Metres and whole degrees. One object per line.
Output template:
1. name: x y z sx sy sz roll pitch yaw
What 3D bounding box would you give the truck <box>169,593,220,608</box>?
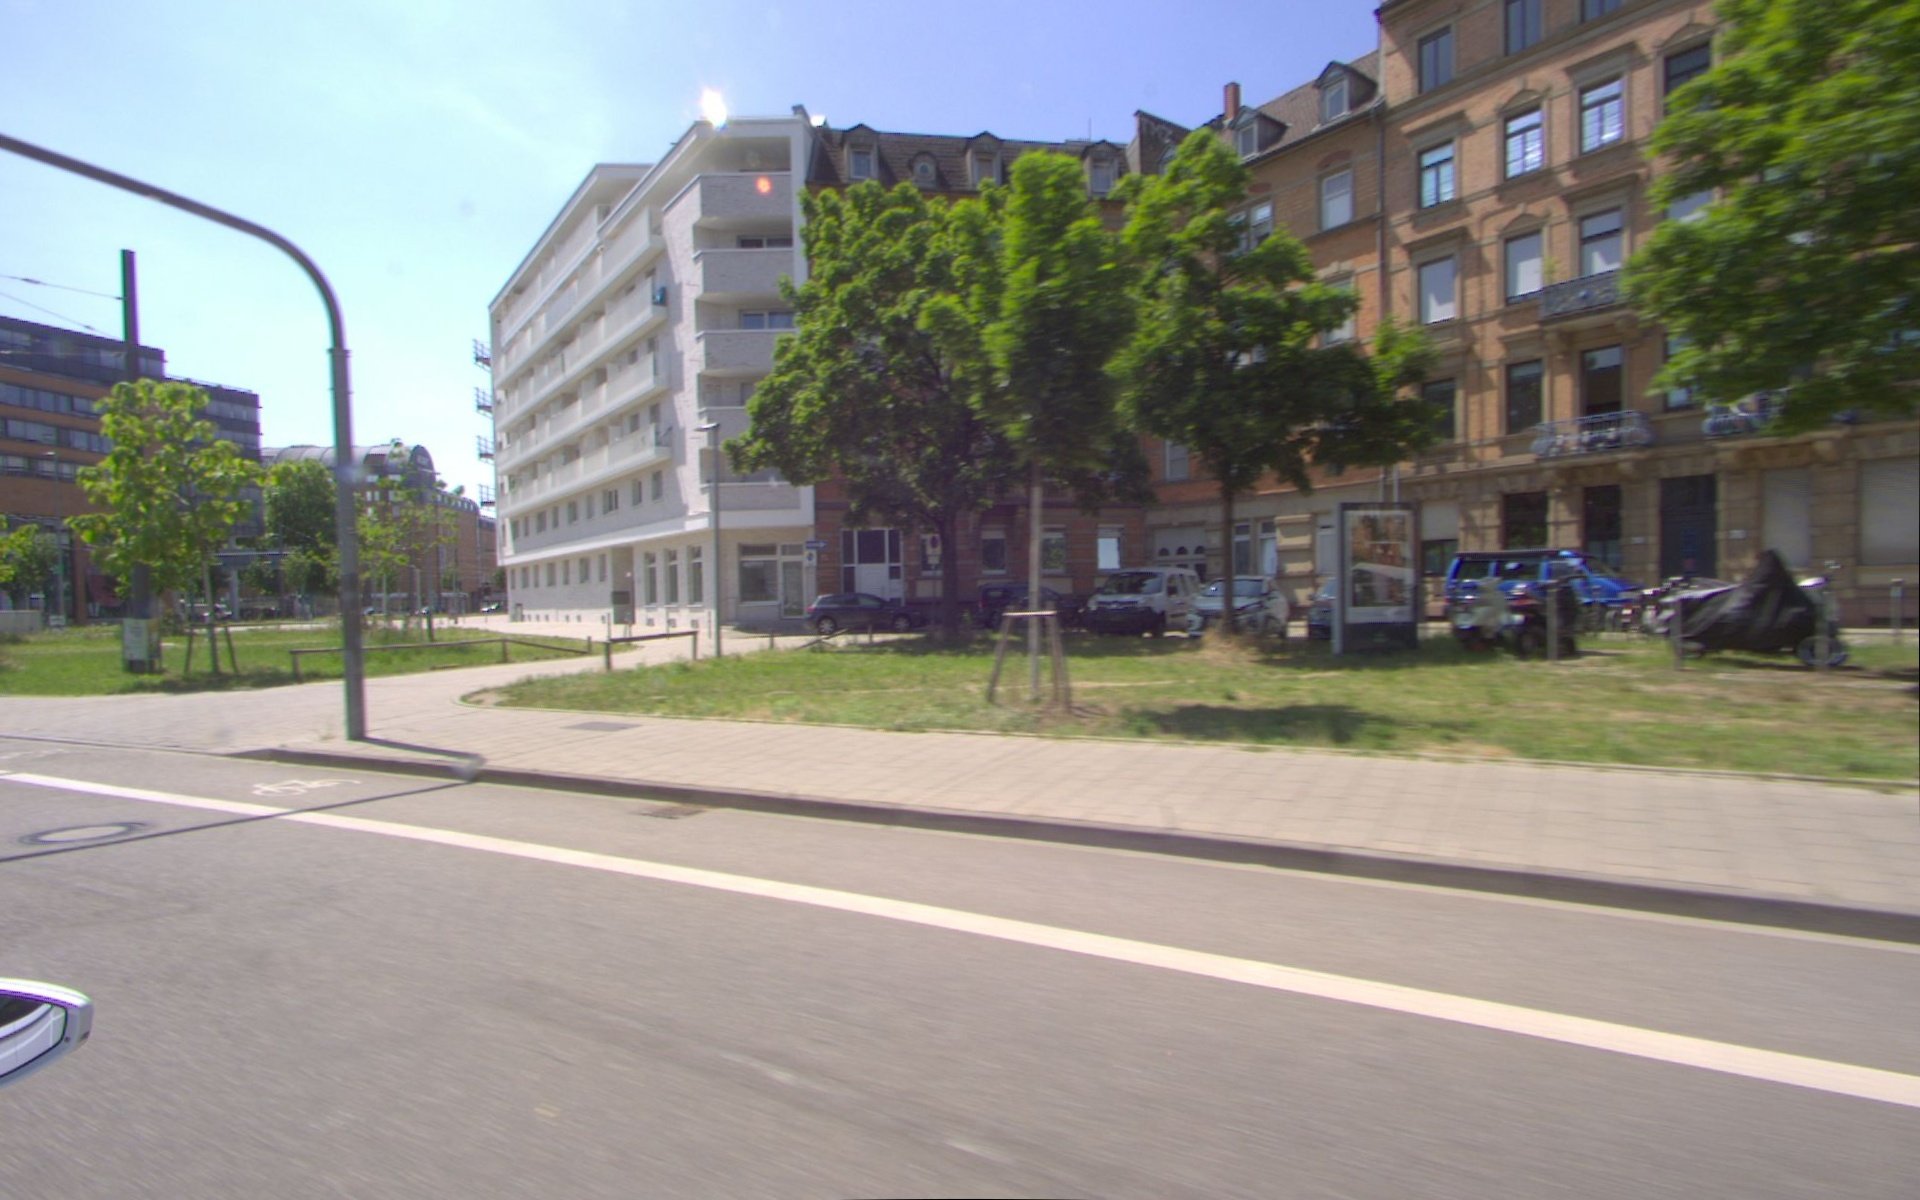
1. truck: -105.248 0.061 137.648 5.278 2.040 1.881 0 0 -8

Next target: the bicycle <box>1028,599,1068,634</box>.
1. bicycle: 2.490 0.446 28.128 0.500 0.948 2.045 0 0 23

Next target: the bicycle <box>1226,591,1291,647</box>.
1. bicycle: 5.314 0.331 17.870 0.468 0.960 1.369 0 0 -15

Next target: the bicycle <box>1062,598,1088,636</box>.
1. bicycle: 3.006 0.425 26.038 0.499 0.947 2.426 0 0 11

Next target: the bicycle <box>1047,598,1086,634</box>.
1. bicycle: 2.992 0.443 27.935 0.500 0.948 2.045 0 0 23

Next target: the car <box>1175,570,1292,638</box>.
1. car: 6.103 0.101 22.060 1.731 1.349 3.985 0 0 27

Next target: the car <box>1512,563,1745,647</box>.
1. car: 12.294 0.095 18.394 3.940 1.394 1.948 0 0 -28

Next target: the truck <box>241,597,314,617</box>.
1. truck: -100.139 0.990 147.014 9.061 2.846 2.000 0 0 -4

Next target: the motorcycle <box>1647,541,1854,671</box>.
1. motorcycle: 9.430 0.058 12.017 0.668 1.432 1.844 -3 2 -34

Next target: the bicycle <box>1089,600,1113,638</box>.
1. bicycle: 3.739 0.486 26.469 0.499 0.948 2.425 -1 0 11

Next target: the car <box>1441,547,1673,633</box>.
1. car: 14.732 -0.204 24.965 1.901 1.929 4.622 0 0 -35

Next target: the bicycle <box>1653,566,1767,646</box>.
1. bicycle: 12.378 0.099 16.521 2.052 1.252 0.629 0 0 -26

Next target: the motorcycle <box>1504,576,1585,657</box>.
1. motorcycle: 8.605 0.242 14.725 1.506 1.135 0.474 0 0 -36

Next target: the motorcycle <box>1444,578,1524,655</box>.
1. motorcycle: 8.119 0.250 15.493 1.809 1.135 0.523 0 0 -43

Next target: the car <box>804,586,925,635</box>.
1. car: -3.282 0.352 34.521 4.051 1.646 1.695 0 0 -6

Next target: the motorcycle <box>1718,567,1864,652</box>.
1. motorcycle: 12.733 0.137 15.341 2.050 1.252 0.810 0 0 -20

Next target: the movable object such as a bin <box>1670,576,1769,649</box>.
1. movable object such as a bin: 10.256 0.162 13.529 0.973 0.949 0.699 0 0 -24

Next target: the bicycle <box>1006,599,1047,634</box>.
1. bicycle: 1.881 0.447 28.187 0.500 0.948 2.045 0 0 23

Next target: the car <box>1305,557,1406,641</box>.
1. car: 7.728 -0.001 19.383 1.581 1.451 3.856 0 0 25

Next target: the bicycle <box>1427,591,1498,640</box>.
1. bicycle: 8.829 0.267 17.633 0.489 0.816 1.456 0 0 -1

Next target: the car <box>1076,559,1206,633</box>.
1. car: 4.531 -0.064 24.478 1.807 1.622 4.856 0 0 27

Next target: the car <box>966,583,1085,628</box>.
1. car: 2.323 0.194 35.984 4.003 1.550 1.777 0 0 -7
